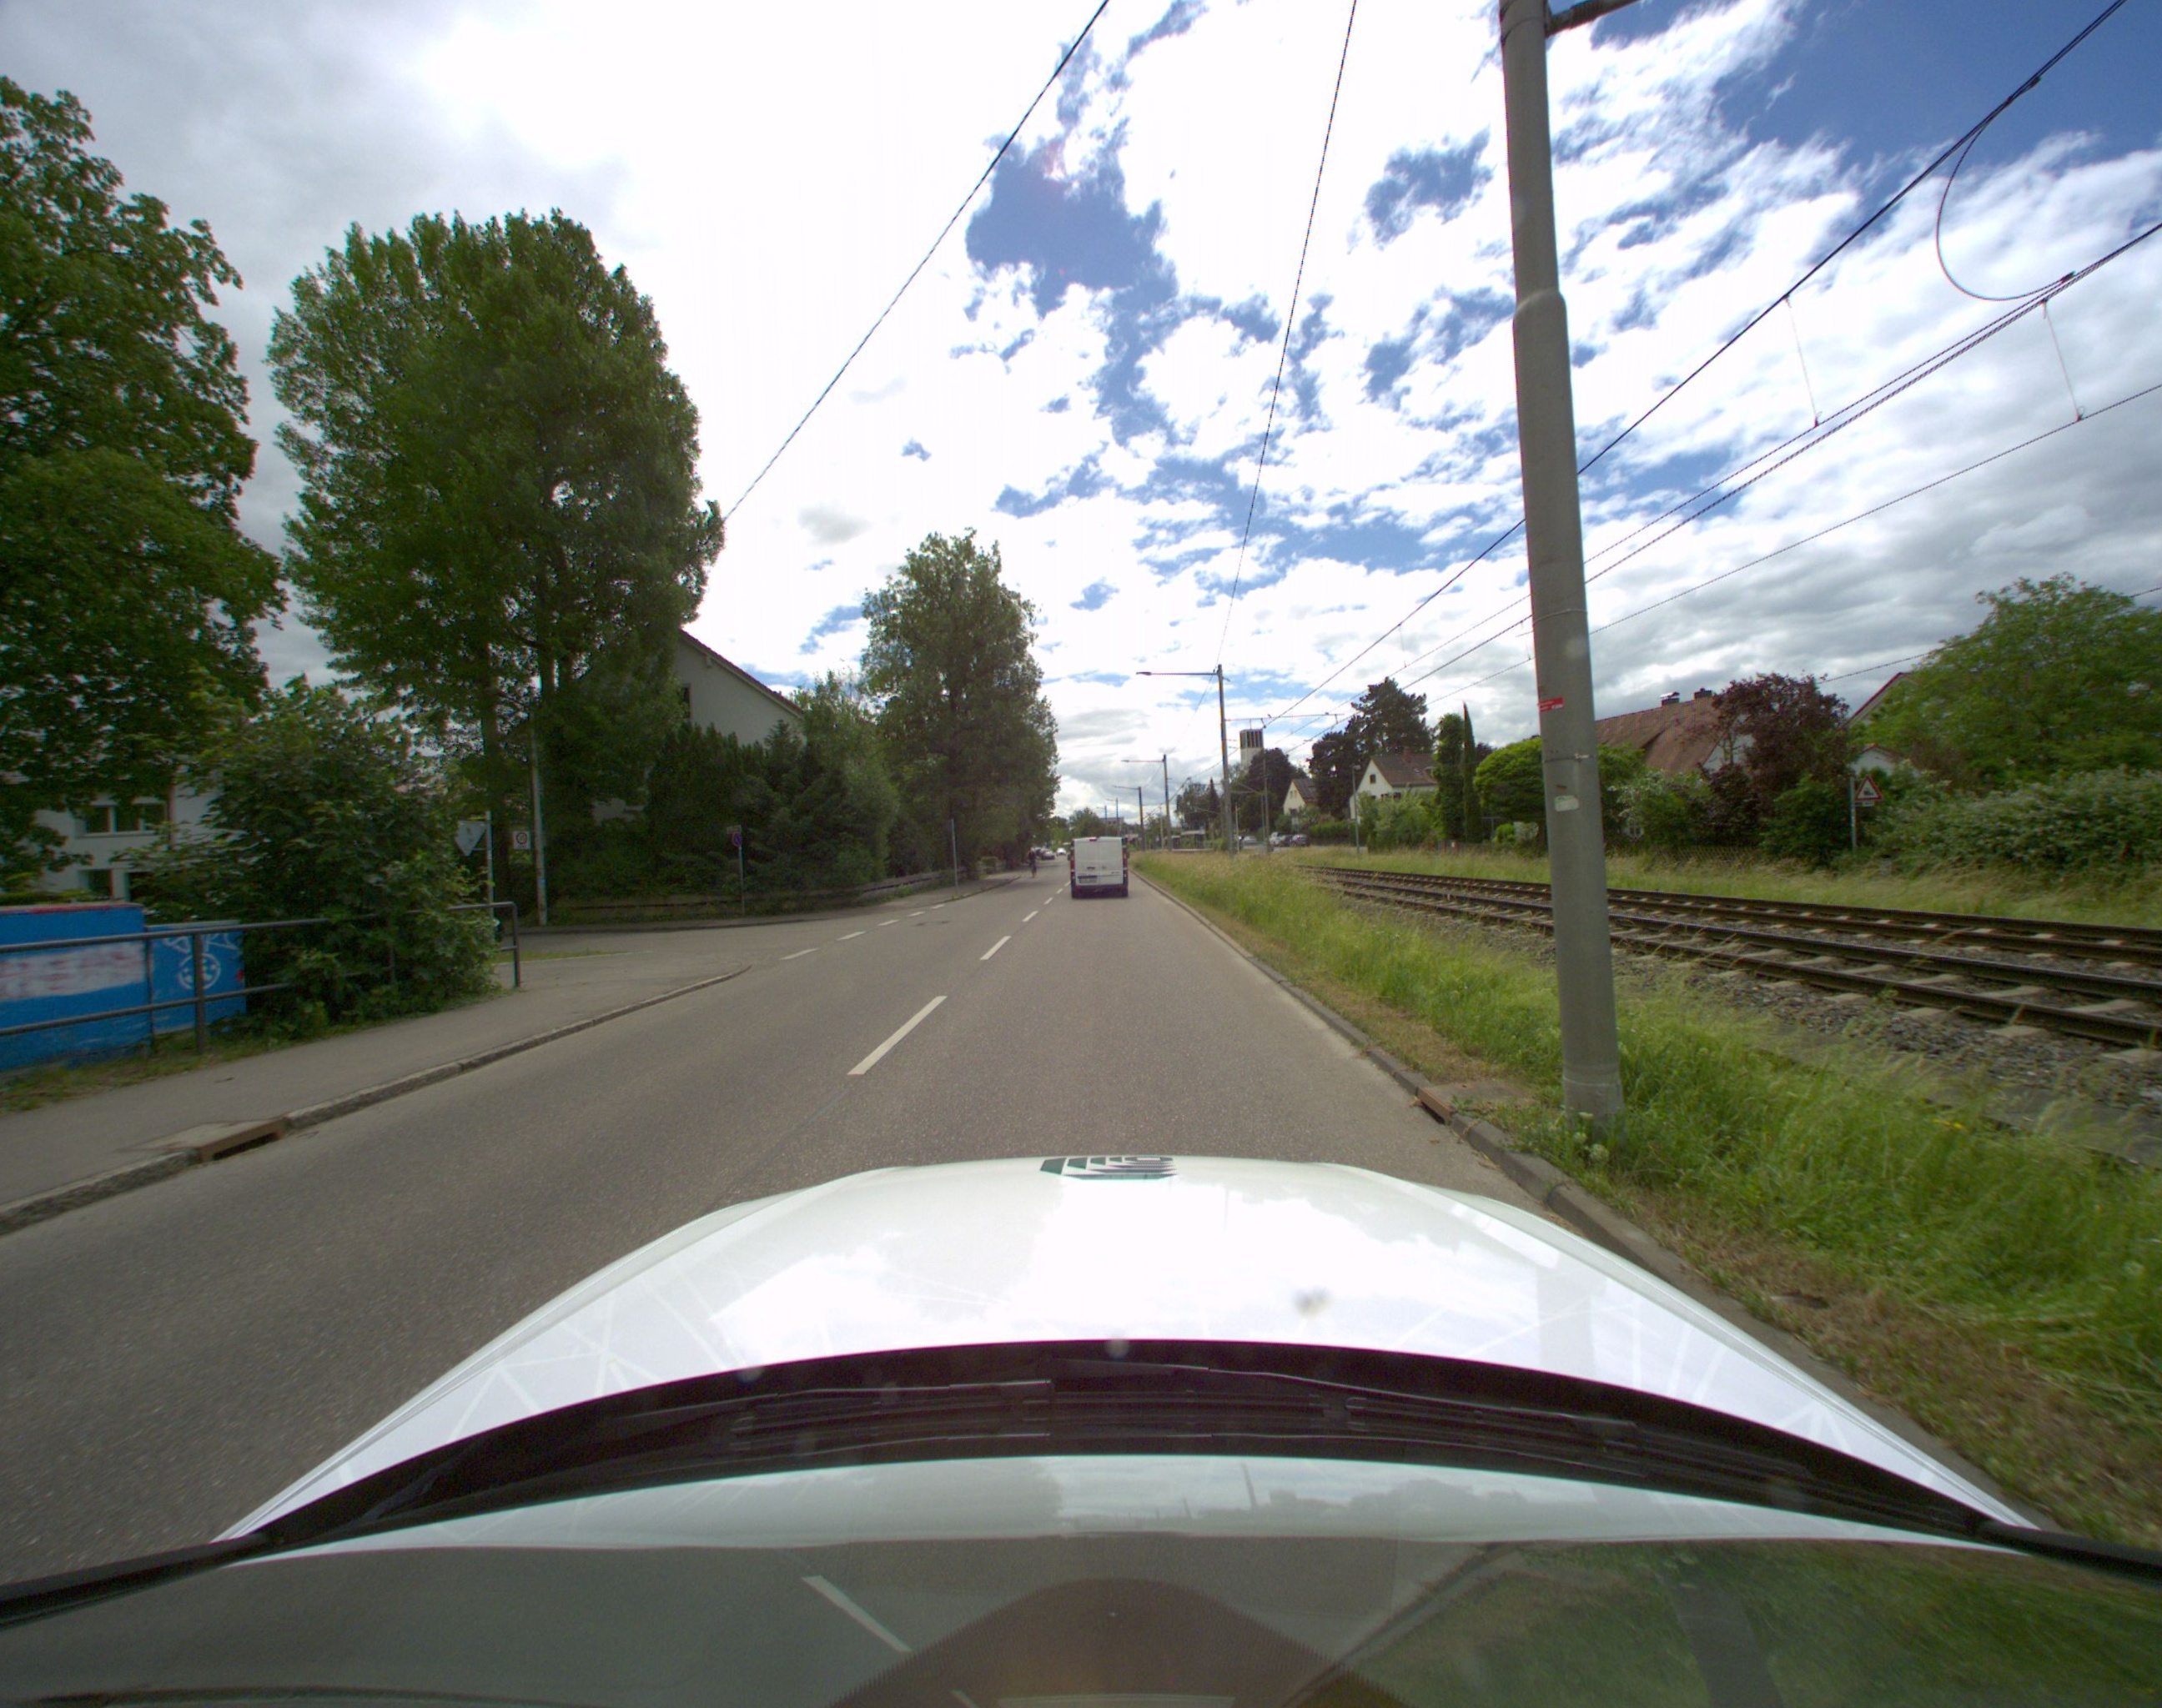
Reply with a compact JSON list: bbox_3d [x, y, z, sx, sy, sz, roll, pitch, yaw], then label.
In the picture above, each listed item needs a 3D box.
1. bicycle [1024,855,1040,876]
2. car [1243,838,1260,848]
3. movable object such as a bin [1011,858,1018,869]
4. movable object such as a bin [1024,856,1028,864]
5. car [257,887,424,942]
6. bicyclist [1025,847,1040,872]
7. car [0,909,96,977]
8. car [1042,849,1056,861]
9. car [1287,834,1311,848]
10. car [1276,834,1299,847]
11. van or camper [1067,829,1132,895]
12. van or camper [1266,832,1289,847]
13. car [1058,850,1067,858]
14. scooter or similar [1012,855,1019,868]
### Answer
[{"bbox_3d":[-3.114,0.719,52.252,0.752,1.226,2.309,-5,0,1],"label":"bicycle"},{"bbox_3d":[26.816,-1.712,127.949,1.876,1.522,4.003,-3,0,2],"label":"car"},{"bbox_3d":[-5.824,0.855,71.386,0.512,0.945,0.568,-2,0,1],"label":"movable object such as a bin"},{"bbox_3d":[-6.663,0.724,98.834,0.463,0.930,0.428,1,-1,-16],"label":"movable object such as a bin"},{"bbox_3d":[-25.999,2.089,28.797,1.825,1.388,4.011,-4,1,9],"label":"car"},{"bbox_3d":[-3.118,0.355,52.346,0.775,1.549,0.870,-3,0,1],"label":"bicyclist"},{"bbox_3d":[-27.569,2.251,20.285,3.966,1.479,1.960,-2,0,6],"label":"car"},{"bbox_3d":[-4.727,0.154,118.196,1.734,1.504,4.470,-5,1,-5],"label":"car"},{"bbox_3d":[25.480,-1.499,95.367,1.876,1.522,4.003,-3,0,2],"label":"car"},{"bbox_3d":[25.711,-1.681,101.398,1.876,1.522,4.003,-3,0,2],"label":"car"},{"bbox_3d":[0.670,0.253,27.718,1.986,2.013,4.448,-2,0,2],"label":"van or camper"},{"bbox_3d":[25.653,-1.865,106.254,1.898,1.825,5.051,-3,0,2],"label":"van or camper"},{"bbox_3d":[-3.465,-0.023,151.703,1.689,1.430,3.784,-5,0,-2],"label":"car"},{"bbox_3d":[-6.228,0.730,76.970,0.407,1.199,1.640,-3,0,2],"label":"scooter or similar"}]
